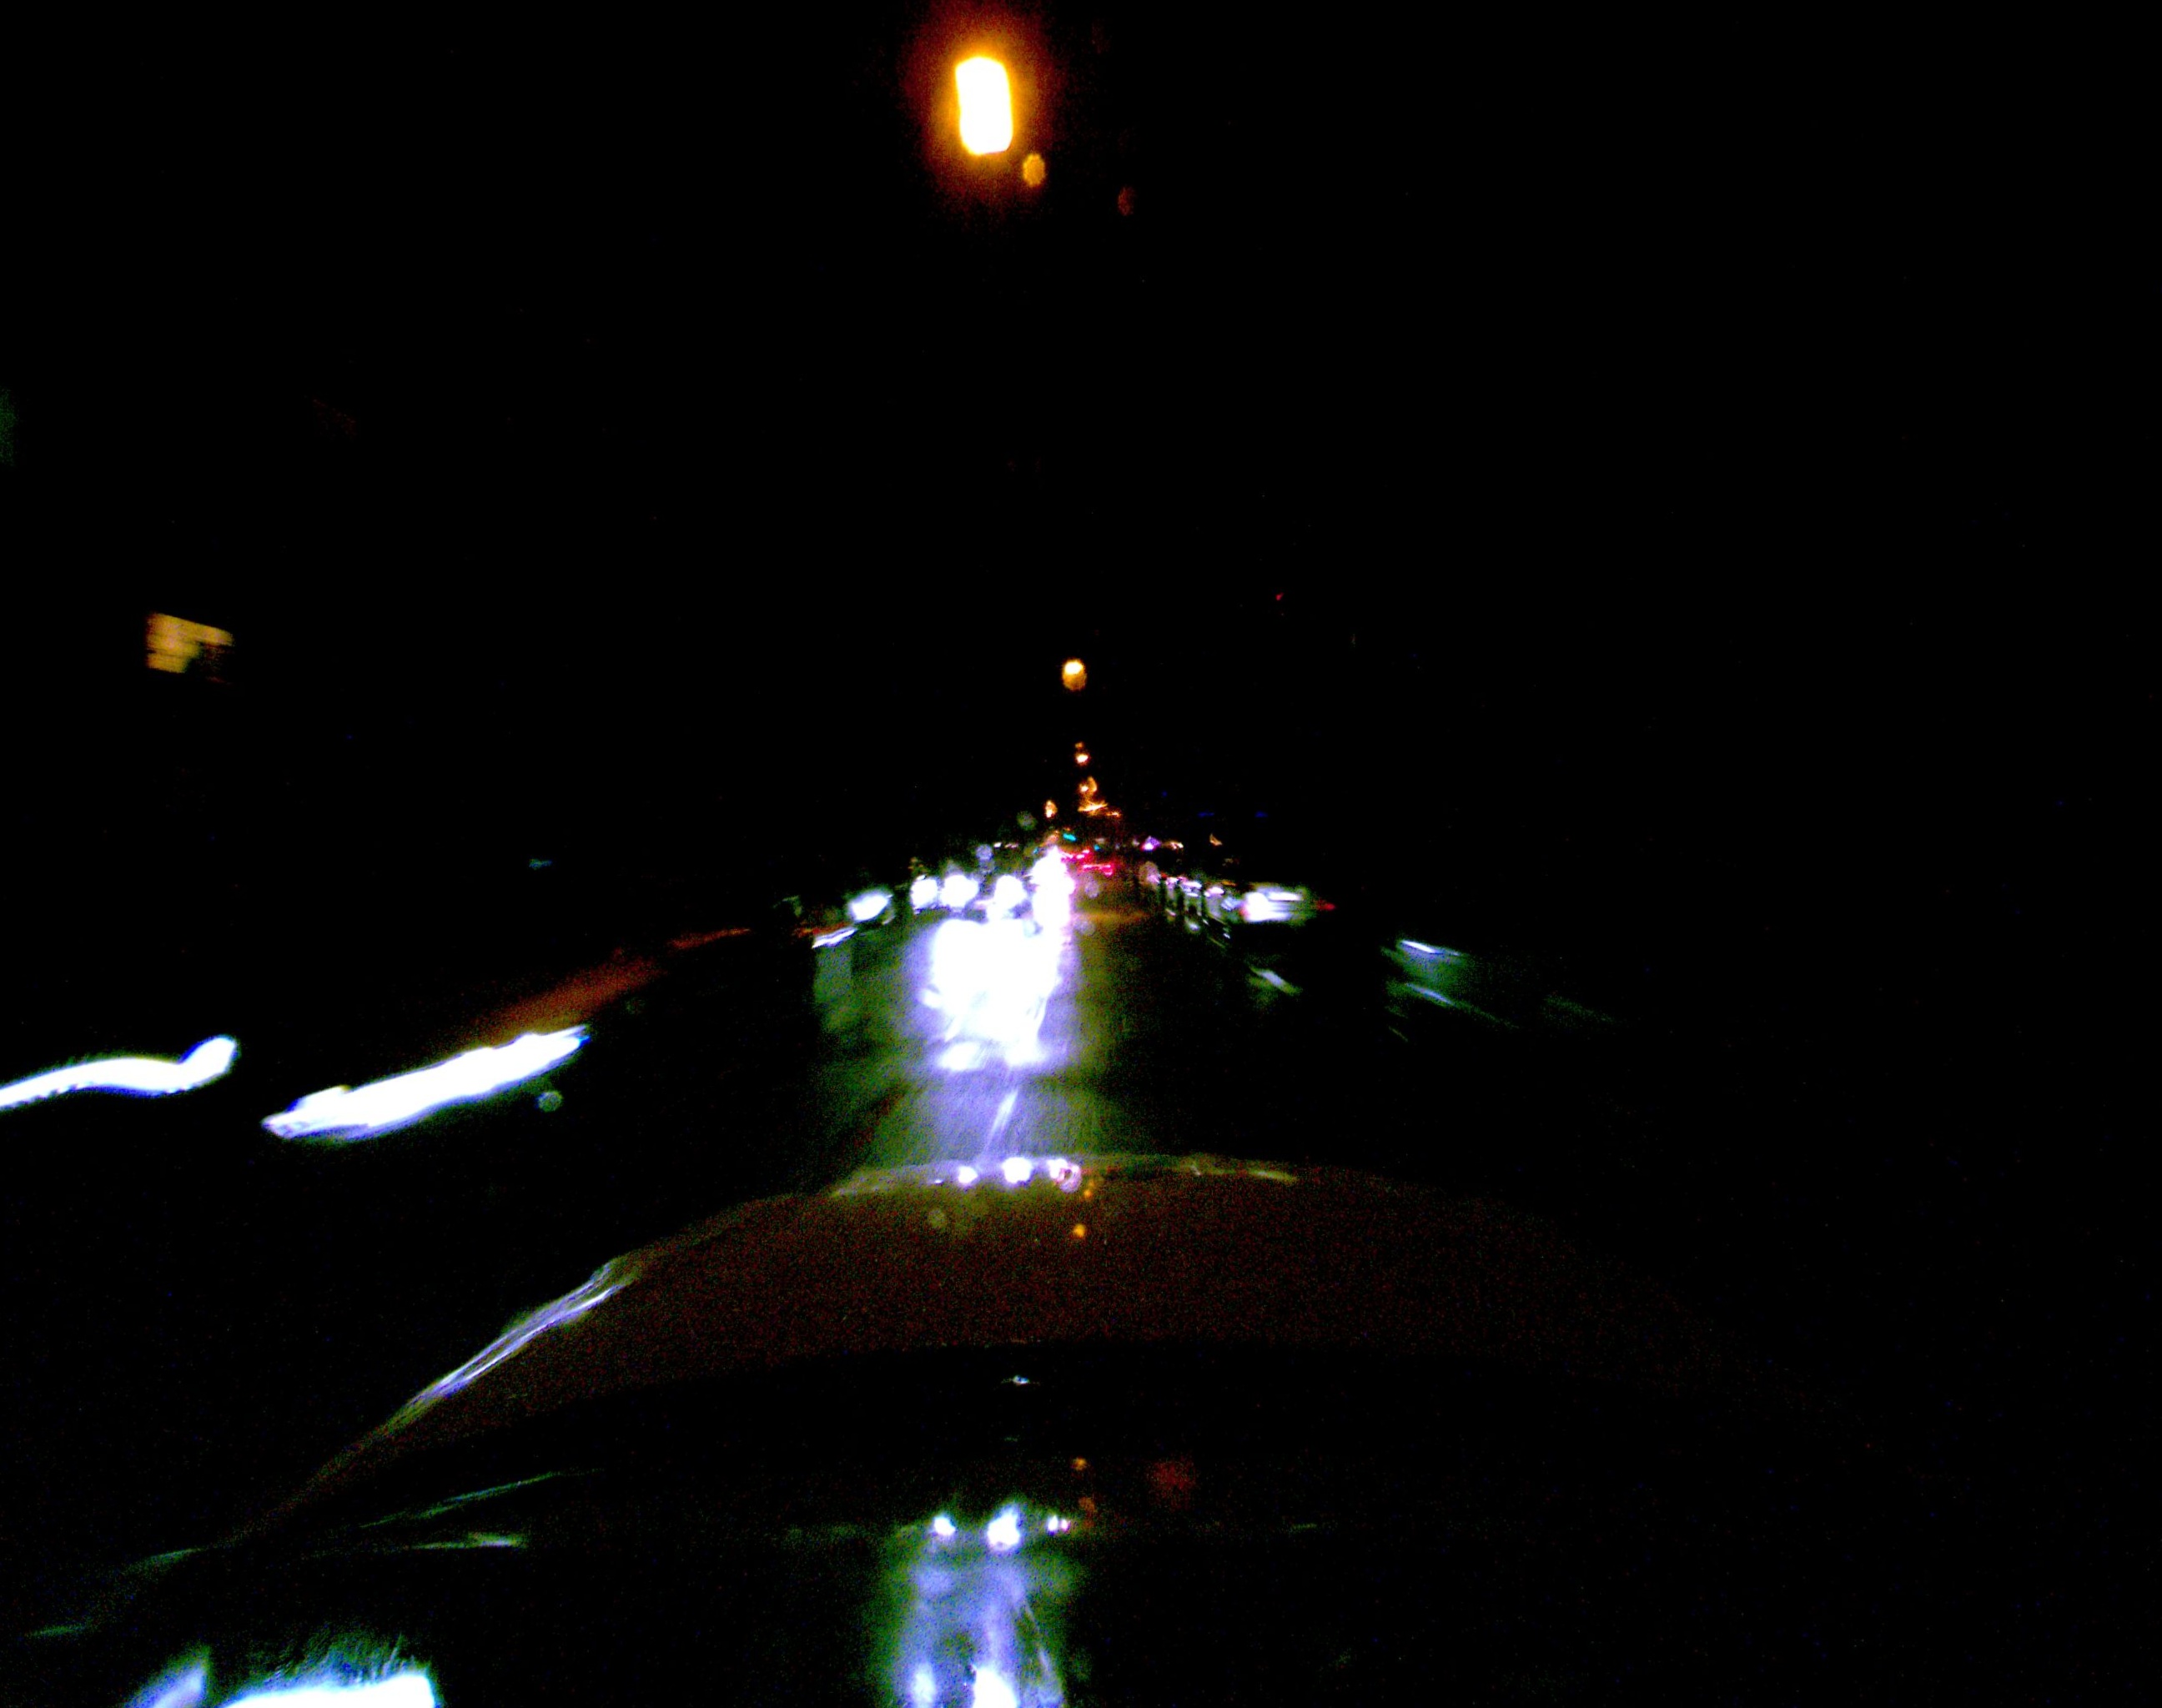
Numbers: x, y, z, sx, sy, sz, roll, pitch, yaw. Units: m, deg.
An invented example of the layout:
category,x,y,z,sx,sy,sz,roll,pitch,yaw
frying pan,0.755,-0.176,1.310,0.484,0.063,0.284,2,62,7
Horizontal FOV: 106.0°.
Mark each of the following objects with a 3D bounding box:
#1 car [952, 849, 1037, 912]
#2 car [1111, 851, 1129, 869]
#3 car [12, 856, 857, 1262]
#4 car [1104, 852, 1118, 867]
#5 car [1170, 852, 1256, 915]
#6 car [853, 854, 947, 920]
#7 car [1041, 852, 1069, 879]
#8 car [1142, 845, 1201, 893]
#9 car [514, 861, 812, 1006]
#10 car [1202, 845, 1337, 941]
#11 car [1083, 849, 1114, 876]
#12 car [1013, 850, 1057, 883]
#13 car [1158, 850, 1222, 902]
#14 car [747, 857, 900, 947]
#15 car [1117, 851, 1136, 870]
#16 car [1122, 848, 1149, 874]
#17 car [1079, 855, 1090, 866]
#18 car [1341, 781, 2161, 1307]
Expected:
category,x,y,z,sx,sy,sz,roll,pitch,yaw
car,-2.290,0.654,22.640,1.851,1.461,4.523,-1,1,0
car,3.846,0.567,81.088,1.530,1.709,3.804,-4,0,1
car,-2.956,0.739,5.190,1.669,1.434,4.514,0,0,2
car,3.650,0.665,100.019,1.530,1.709,3.804,-4,0,1
car,3.348,0.697,21.227,1.598,1.388,3.793,-5,0,1
car,-5.132,0.879,23.706,1.607,1.571,4.452,-5,0,0
car,-1.776,0.751,56.354,1.683,1.785,4.000,0,0,1
car,3.478,0.536,31.910,1.814,1.673,4.001,-4,0,1
car,-5.569,0.935,11.666,1.571,1.457,4.647,-5,0,3
car,3.451,0.624,15.705,1.622,1.466,4.512,-4,0,2
car,1.233,0.549,56.571,1.986,1.683,4.002,-2,1,2
car,-2.165,0.580,39.784,1.814,1.463,4.865,-1,0,0
car,3.349,0.628,25.588,1.490,1.388,3.748,-4,0,1
car,-5.387,0.926,17.677,1.606,1.536,4.304,-5,0,3
car,4.165,0.558,74.565,1.530,1.561,3.804,-4,0,1
car,3.596,0.461,54.595,1.530,1.561,3.804,-4,0,1
car,0.613,1.084,144.055,1.806,1.709,3.804,-4,0,1
car,3.275,0.561,4.900,1.875,1.572,4.588,-5,1,0
